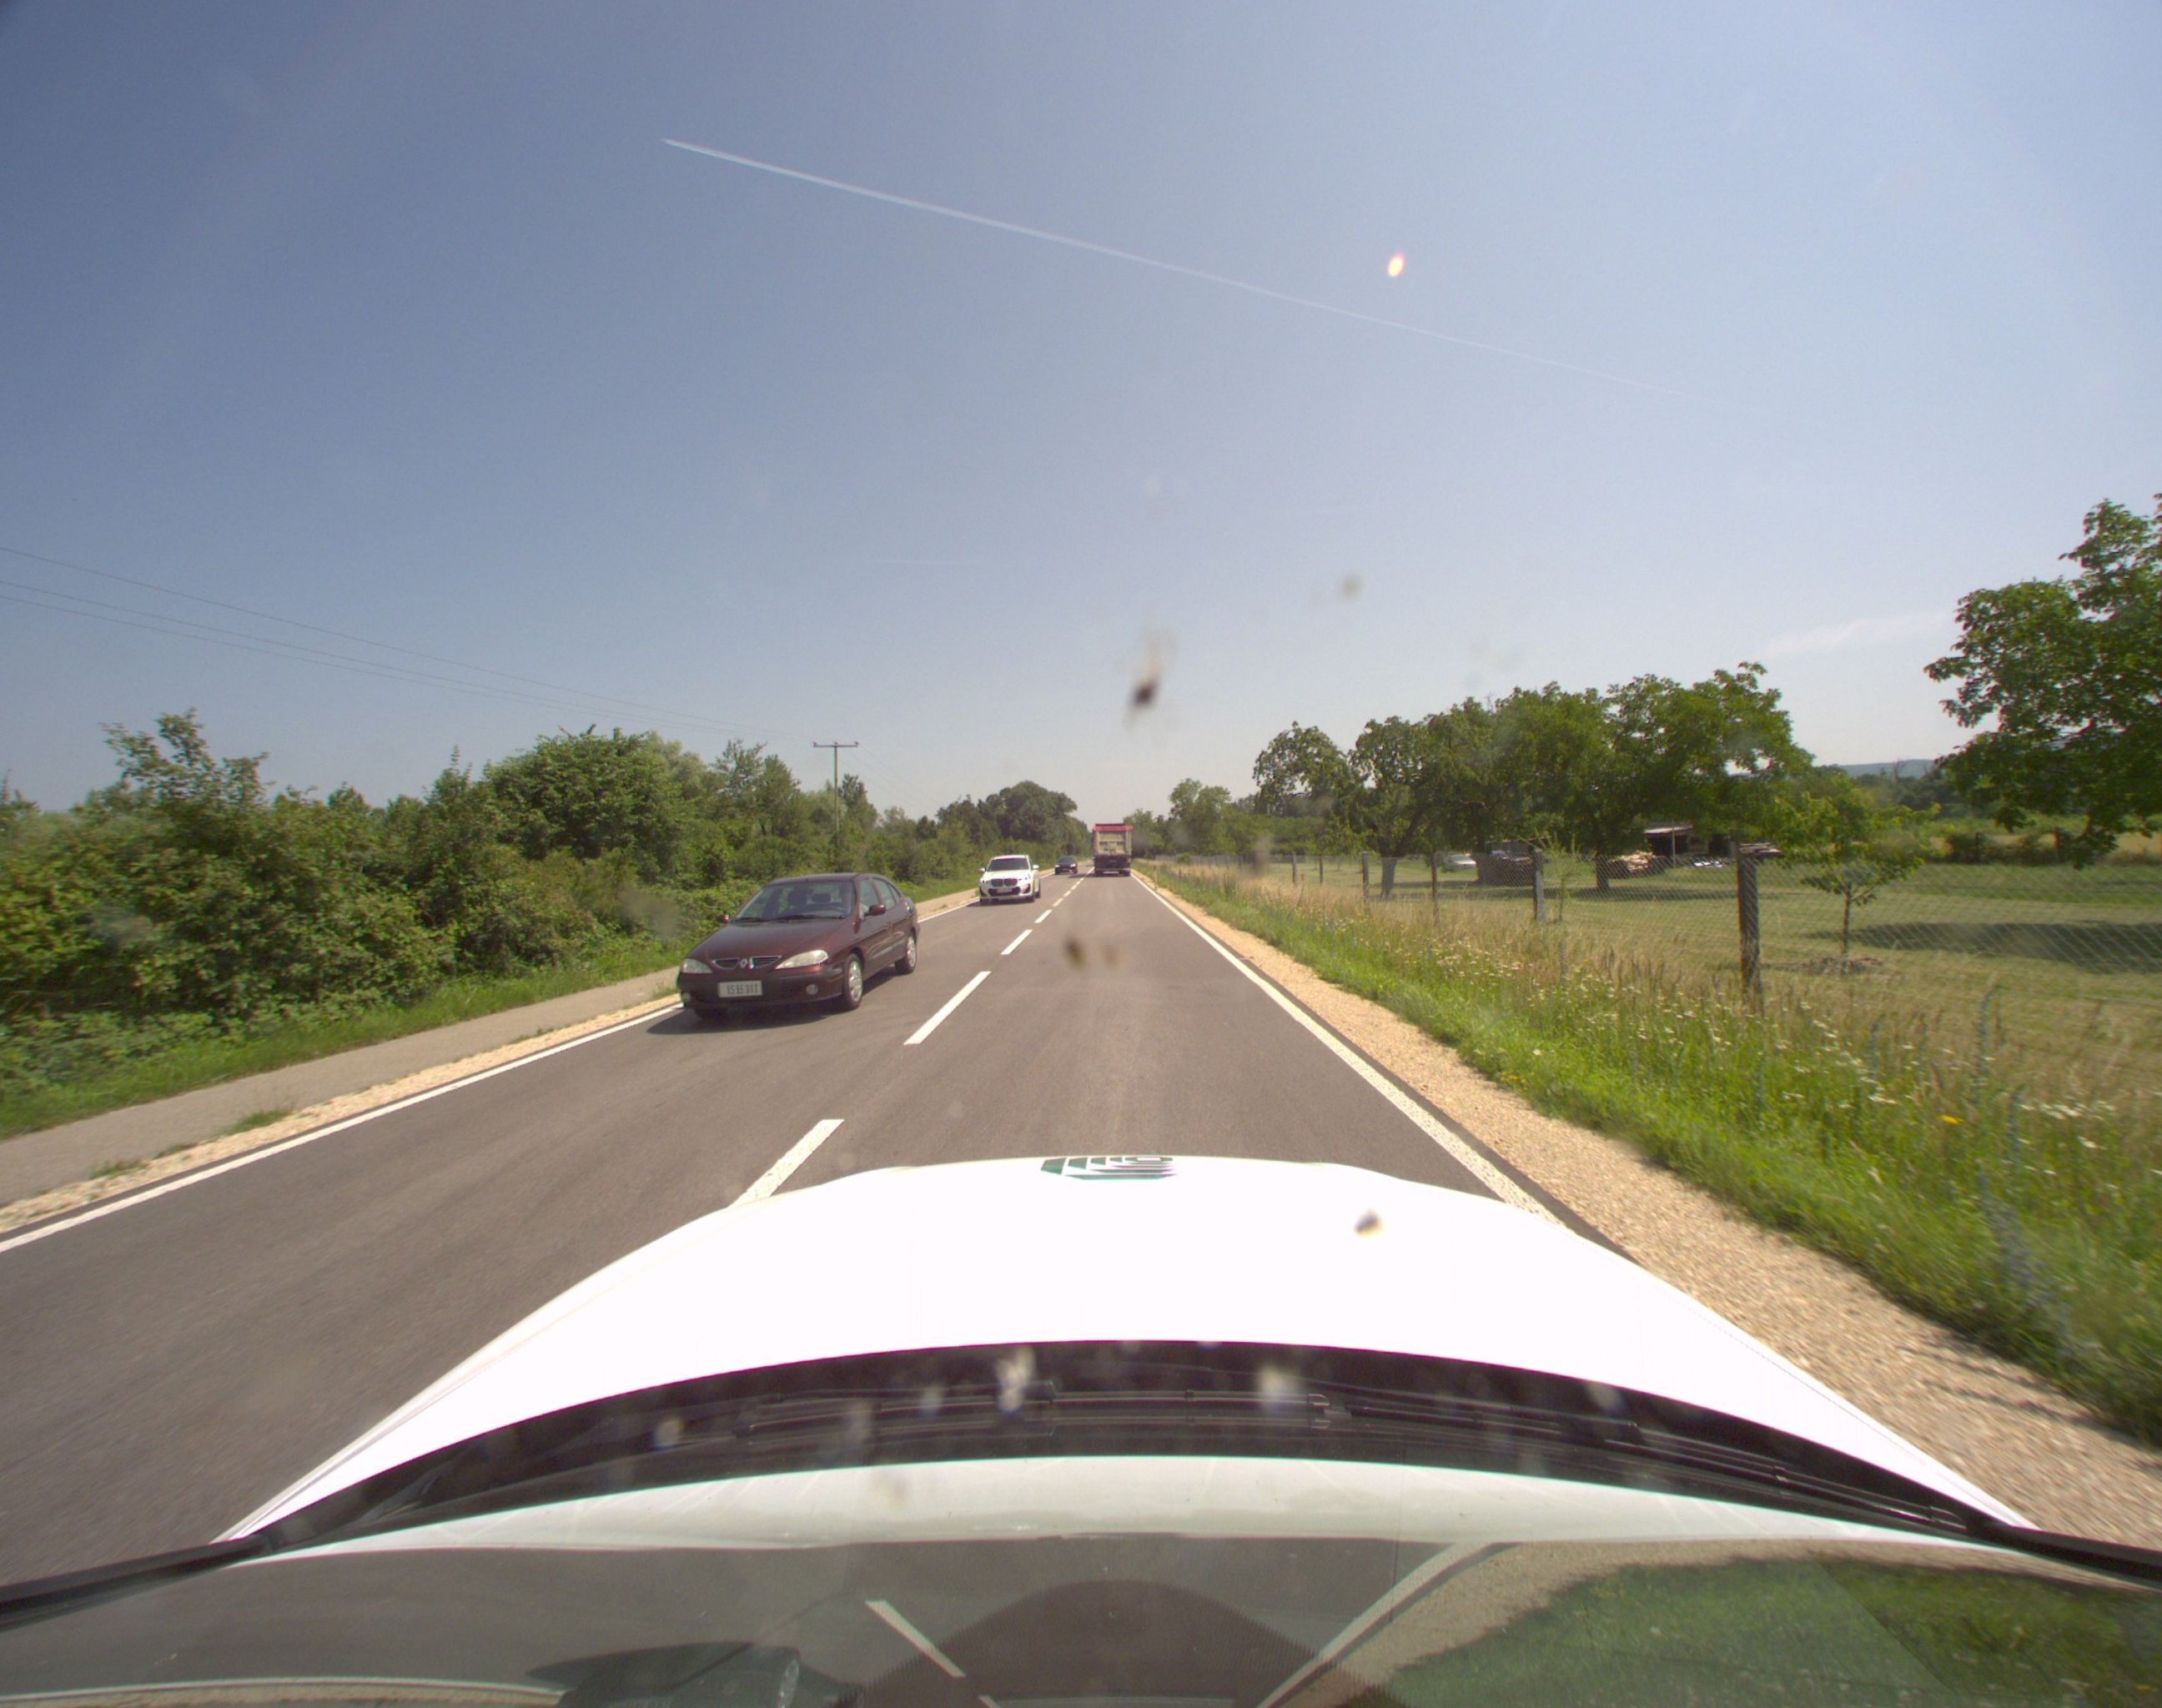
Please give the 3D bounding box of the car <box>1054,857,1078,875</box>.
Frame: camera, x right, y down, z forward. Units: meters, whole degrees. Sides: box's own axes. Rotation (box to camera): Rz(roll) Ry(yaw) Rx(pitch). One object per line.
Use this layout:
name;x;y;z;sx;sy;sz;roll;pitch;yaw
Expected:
car;-1.238;0.984;68.047;1.752;1.357;4.047;-4;0;2

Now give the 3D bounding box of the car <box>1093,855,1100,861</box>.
car;4.116;1.015;215.436;1.752;1.540;4.047;-4;0;2

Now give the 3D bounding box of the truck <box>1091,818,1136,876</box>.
truck;2.344;-0.425;59.996;2.998;3.874;12.213;0;0;2

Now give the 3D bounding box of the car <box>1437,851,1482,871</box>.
car;29.330;0.509;63.195;1.591;1.486;3.420;-1;1;-6

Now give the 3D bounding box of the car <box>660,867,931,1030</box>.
car;-3.118;0.940;9.837;1.688;1.406;4.046;-4;0;1

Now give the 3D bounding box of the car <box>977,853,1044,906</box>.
car;-2.411;0.843;28.859;1.752;1.606;4.483;-4;0;2
